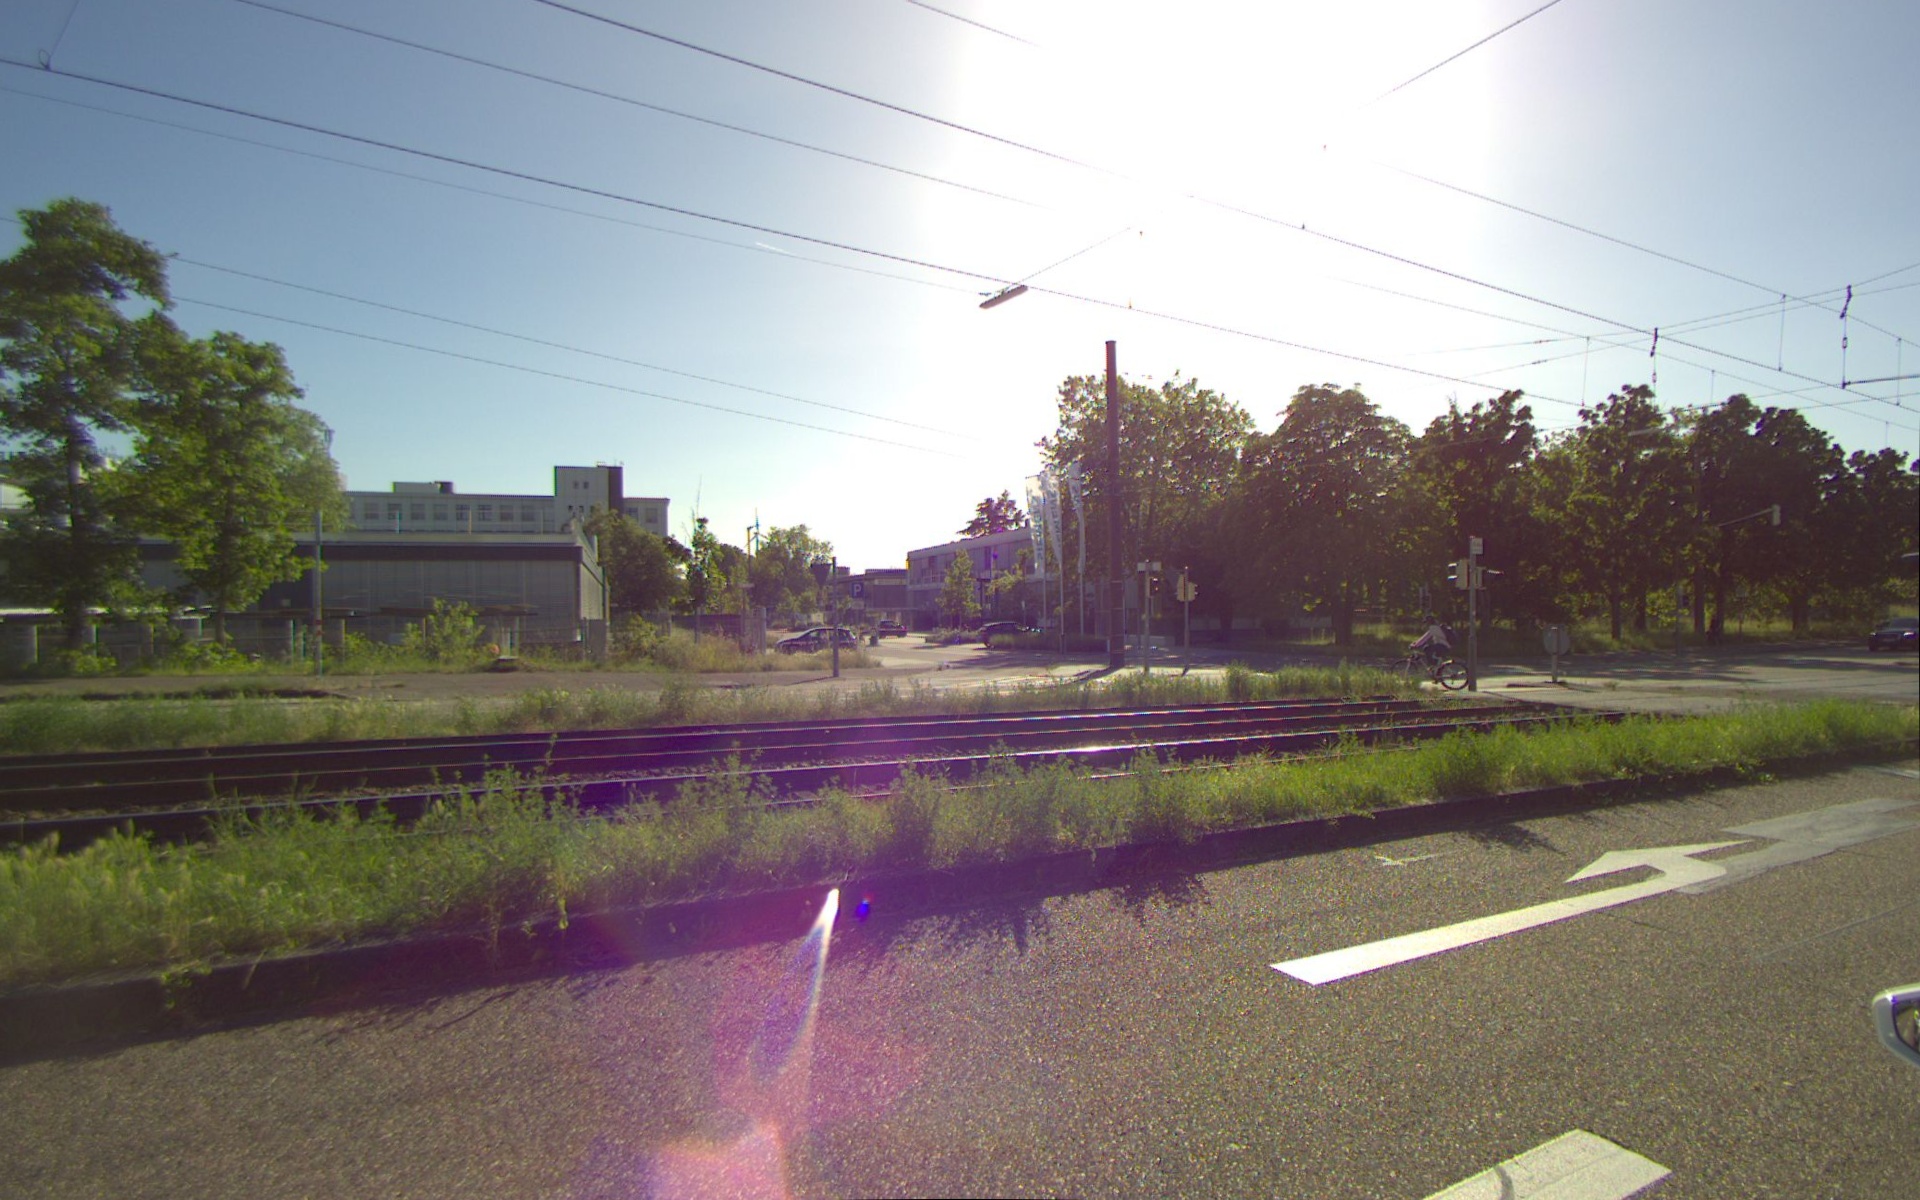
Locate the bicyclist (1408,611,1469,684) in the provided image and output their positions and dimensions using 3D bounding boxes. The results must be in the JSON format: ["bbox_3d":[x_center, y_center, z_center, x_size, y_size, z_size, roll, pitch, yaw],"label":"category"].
[{"bbox_3d":[10.972,1.070,23.037,1.214,1.614,0.804,1,0,28],"label":"bicyclist"}]

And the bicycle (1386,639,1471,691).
[{"bbox_3d":[10.790,1.479,23.148,1.748,1.117,0.698,1,0,28],"label":"bicycle"}]

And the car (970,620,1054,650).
[{"bbox_3d":[3.197,2.152,61.714,4.768,1.751,2.041,1,0,-21],"label":"car"}]

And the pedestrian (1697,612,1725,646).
[{"bbox_3d":[39.974,1.532,53.445,0.919,1.757,0.761,0,0,-2],"label":"pedestrian"}]

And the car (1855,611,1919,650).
[{"bbox_3d":[46.955,1.512,50.174,4.739,1.834,2.082,0,-2,-32],"label":"car"}]

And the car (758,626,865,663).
[{"bbox_3d":[-7.680,2.271,51.917,5.210,1.772,2.164,1,0,-19],"label":"car"}]

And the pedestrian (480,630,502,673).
[{"bbox_3d":[-14.698,1.619,31.463,0.432,1.318,0.441,0,0,18],"label":"pedestrian"}]
